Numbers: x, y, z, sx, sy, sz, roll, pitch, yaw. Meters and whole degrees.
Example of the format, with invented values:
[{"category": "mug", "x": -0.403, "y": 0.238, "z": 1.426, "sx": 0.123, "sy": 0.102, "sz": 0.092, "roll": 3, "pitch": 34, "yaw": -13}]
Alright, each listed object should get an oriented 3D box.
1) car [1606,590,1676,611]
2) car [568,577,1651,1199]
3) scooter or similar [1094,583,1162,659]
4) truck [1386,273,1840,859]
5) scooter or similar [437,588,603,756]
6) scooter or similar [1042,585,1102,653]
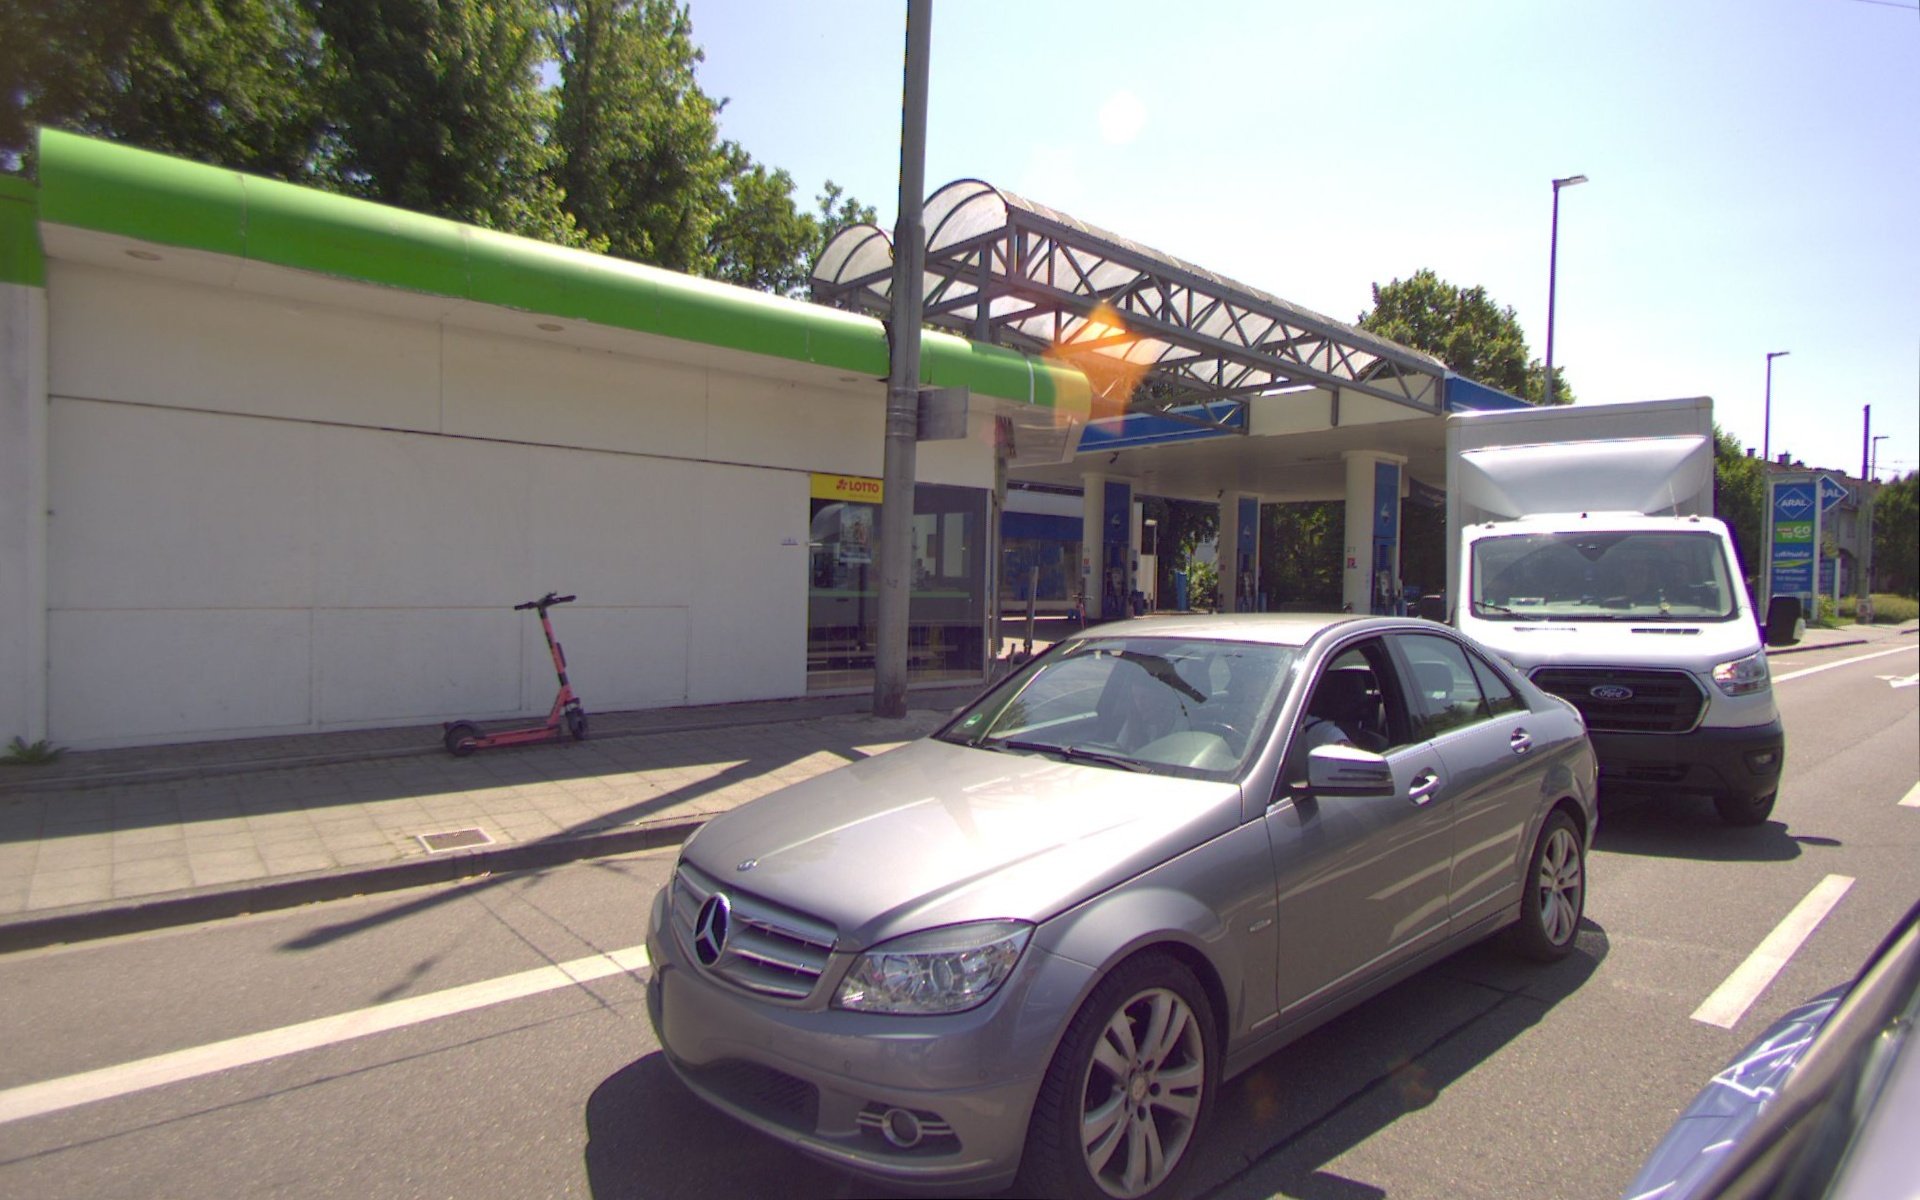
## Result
[{"category": "car", "x": 54.311, "y": 0.016, "z": 80.793, "sx": 1.961, "sy": 1.540, "sz": 4.229, "roll": 0, "pitch": 1, "yaw": -33}, {"category": "car", "x": 0.968, "y": 0.679, "z": 3.972, "sx": 4.340, "sy": 1.467, "sz": 1.799, "roll": 0, "pitch": 1, "yaw": -40}, {"category": "scooter or similar", "x": 2.906, "y": 0.343, "z": 17.550, "sx": 0.404, "sy": 1.256, "sz": 1.176, "roll": 0, "pitch": 1, "yaw": -40}, {"category": "truck", "x": 5.918, "y": -0.266, "z": 9.941, "sx": 2.406, "sy": 3.434, "sz": 7.755, "roll": 1, "pitch": 1, "yaw": 28}, {"category": "scooter or similar", "x": -3.422, "y": 0.526, "z": 7.894, "sx": 1.118, "sy": 1.209, "sz": 0.384, "roll": 0, "pitch": 4, "yaw": -37}, {"category": "scooter or similar", "x": 2.041, "y": 0.324, "z": 18.510, "sx": 0.377, "sy": 1.191, "sz": 1.138, "roll": 0, "pitch": 1, "yaw": -40}]
